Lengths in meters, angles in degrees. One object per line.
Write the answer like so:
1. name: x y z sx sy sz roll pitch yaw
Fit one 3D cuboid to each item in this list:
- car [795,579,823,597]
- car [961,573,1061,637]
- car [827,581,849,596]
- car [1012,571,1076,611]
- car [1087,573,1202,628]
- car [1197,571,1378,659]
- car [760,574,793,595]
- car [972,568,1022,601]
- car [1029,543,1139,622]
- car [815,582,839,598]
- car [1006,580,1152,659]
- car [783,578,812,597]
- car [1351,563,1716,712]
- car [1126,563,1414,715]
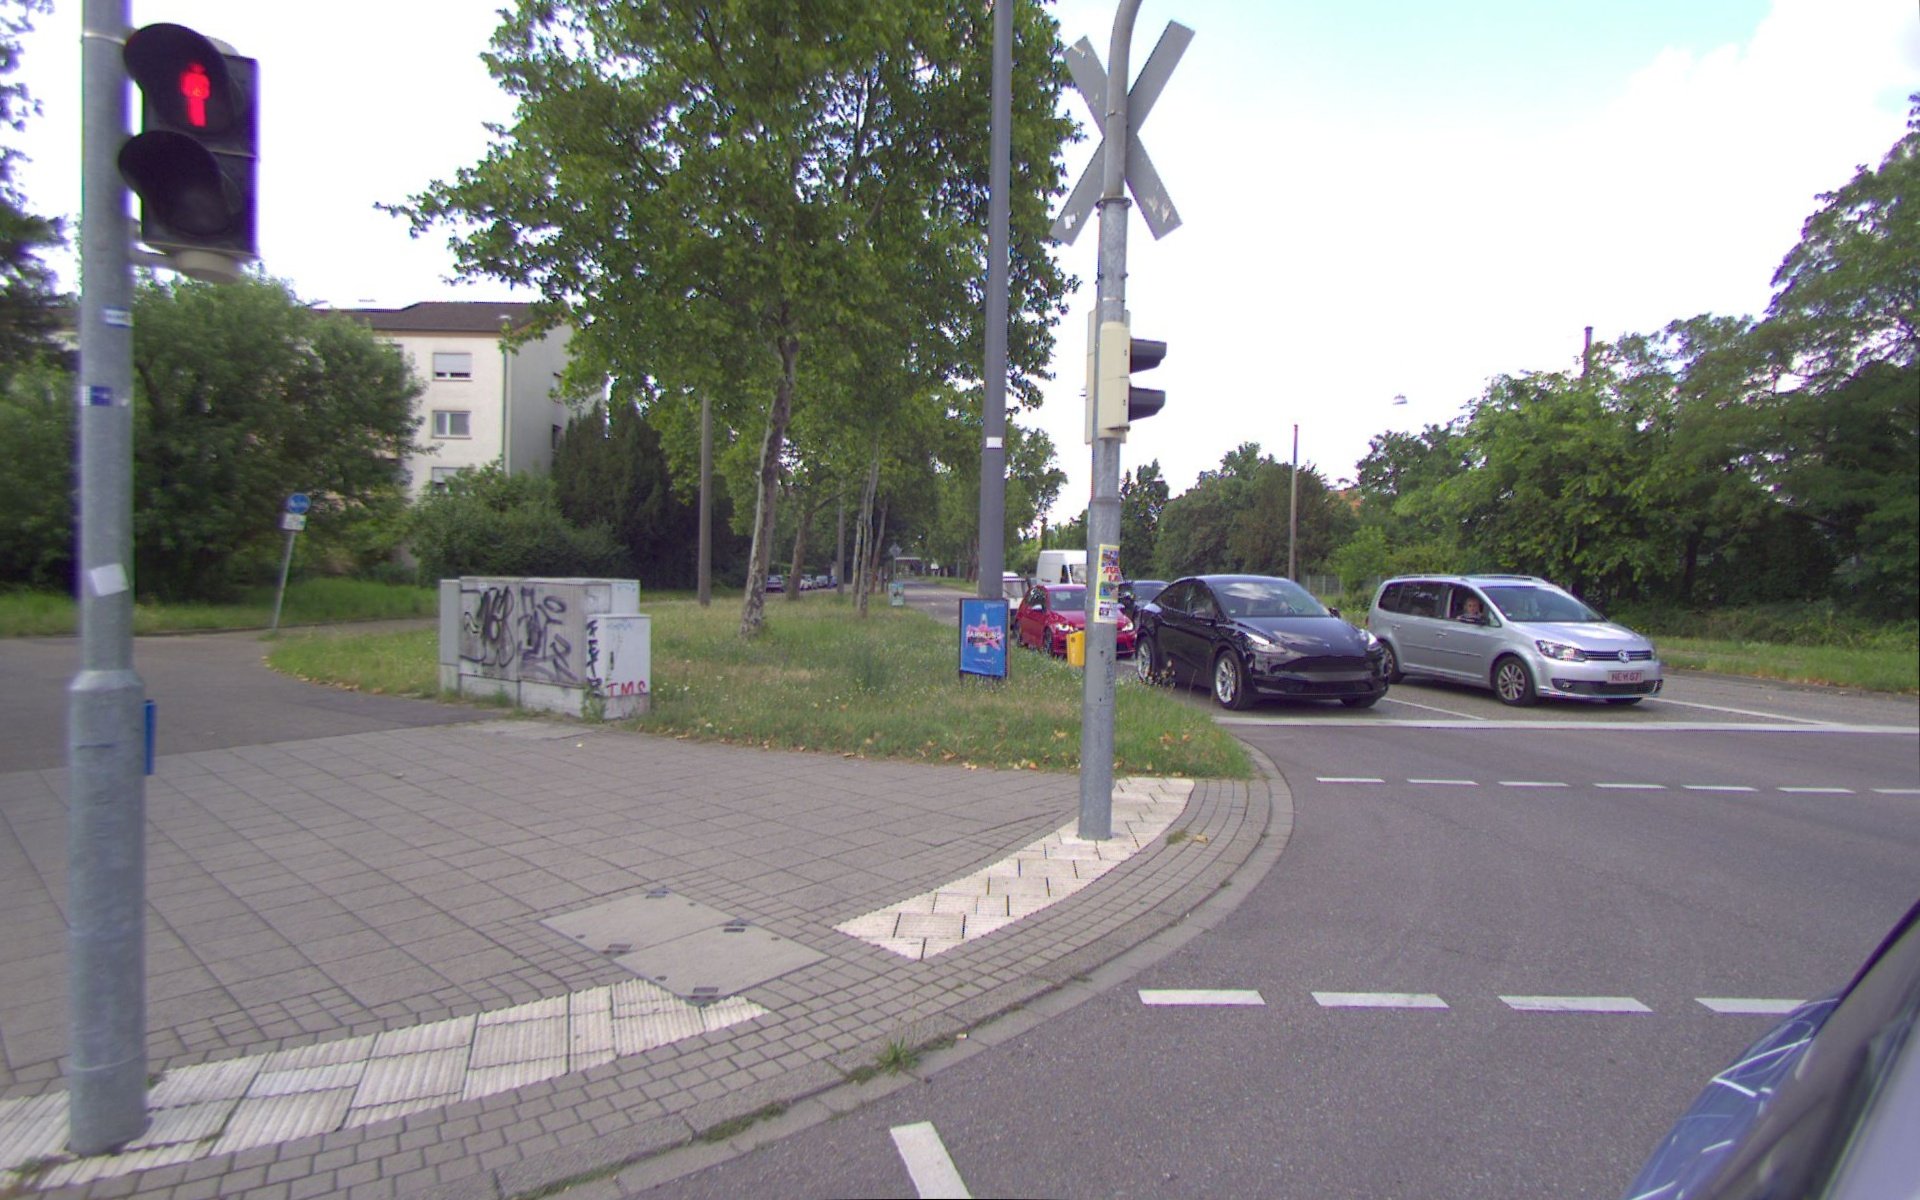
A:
1. car: -14.384 -1.115 96.411 1.746 1.616 3.650 1 -1 6
2. car: 1.301 0.069 27.942 1.765 1.589 4.511 -1 2 -10
3. car: -13.892 -1.254 115.321 1.746 1.616 3.650 1 -1 6
4. car: 3.593 -0.426 43.955 1.806 1.638 4.164 0 2 -9
5. car: 5.044 -0.045 28.275 1.728 1.392 4.352 -1 2 -10
6. car: 6.294 0.207 19.963 1.767 1.526 4.007 -1 2 -9
7. car: -15.010 -1.254 82.994 1.746 1.616 3.650 1 -1 6
8. car: 1.952 -0.855 54.443 1.728 1.667 4.352 1 1 -10
9. car: 4.258 -0.660 35.901 2.181 2.561 5.945 -1 2 -10
10. car: -14.081 -1.003 107.427 1.746 1.616 3.650 1 -1 6
11. car: 2.351 0.308 21.176 1.765 1.408 4.511 -1 2 -10
12. car: -14.803 -1.162 92.129 1.746 1.616 3.650 1 -1 6
13. car: 7.506 0.357 13.892 1.891 1.672 4.511 -1 2 -10
14. car: 3.872 0.358 13.632 1.892 1.672 4.588 -1 2 -9
